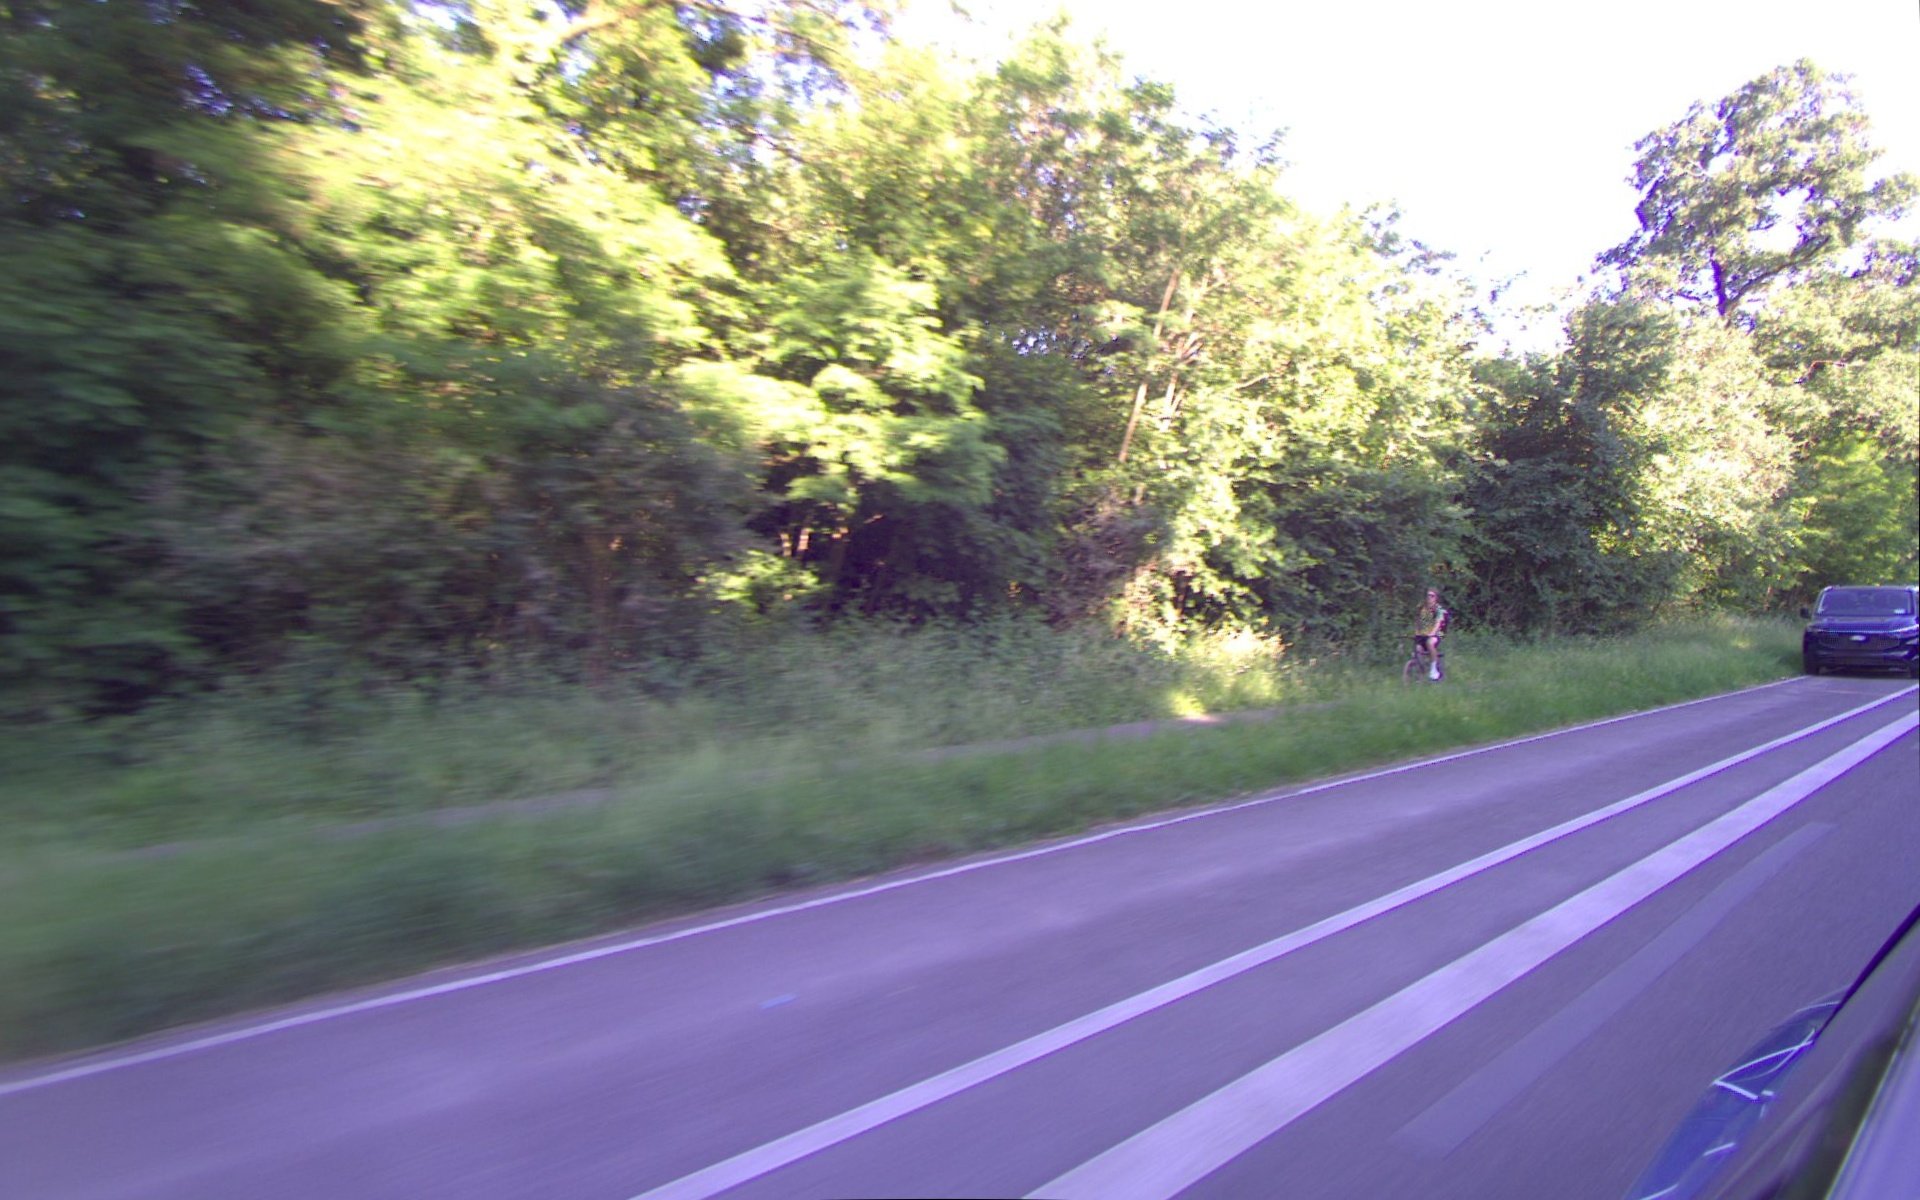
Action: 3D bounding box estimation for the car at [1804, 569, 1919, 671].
[{"bbox_3d":[20.569,0.400,22.382,4.951,2.039,2.117,0,-1,-41],"label":"car"}]

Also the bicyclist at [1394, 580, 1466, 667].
[{"bbox_3d":[7.531,0.363,16.197,1.155,1.341,0.611,0,0,-41],"label":"bicyclist"}]

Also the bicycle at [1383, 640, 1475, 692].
[{"bbox_3d":[7.538,1.040,16.219,1.961,0.701,0.592,0,1,-41],"label":"bicycle"}]
